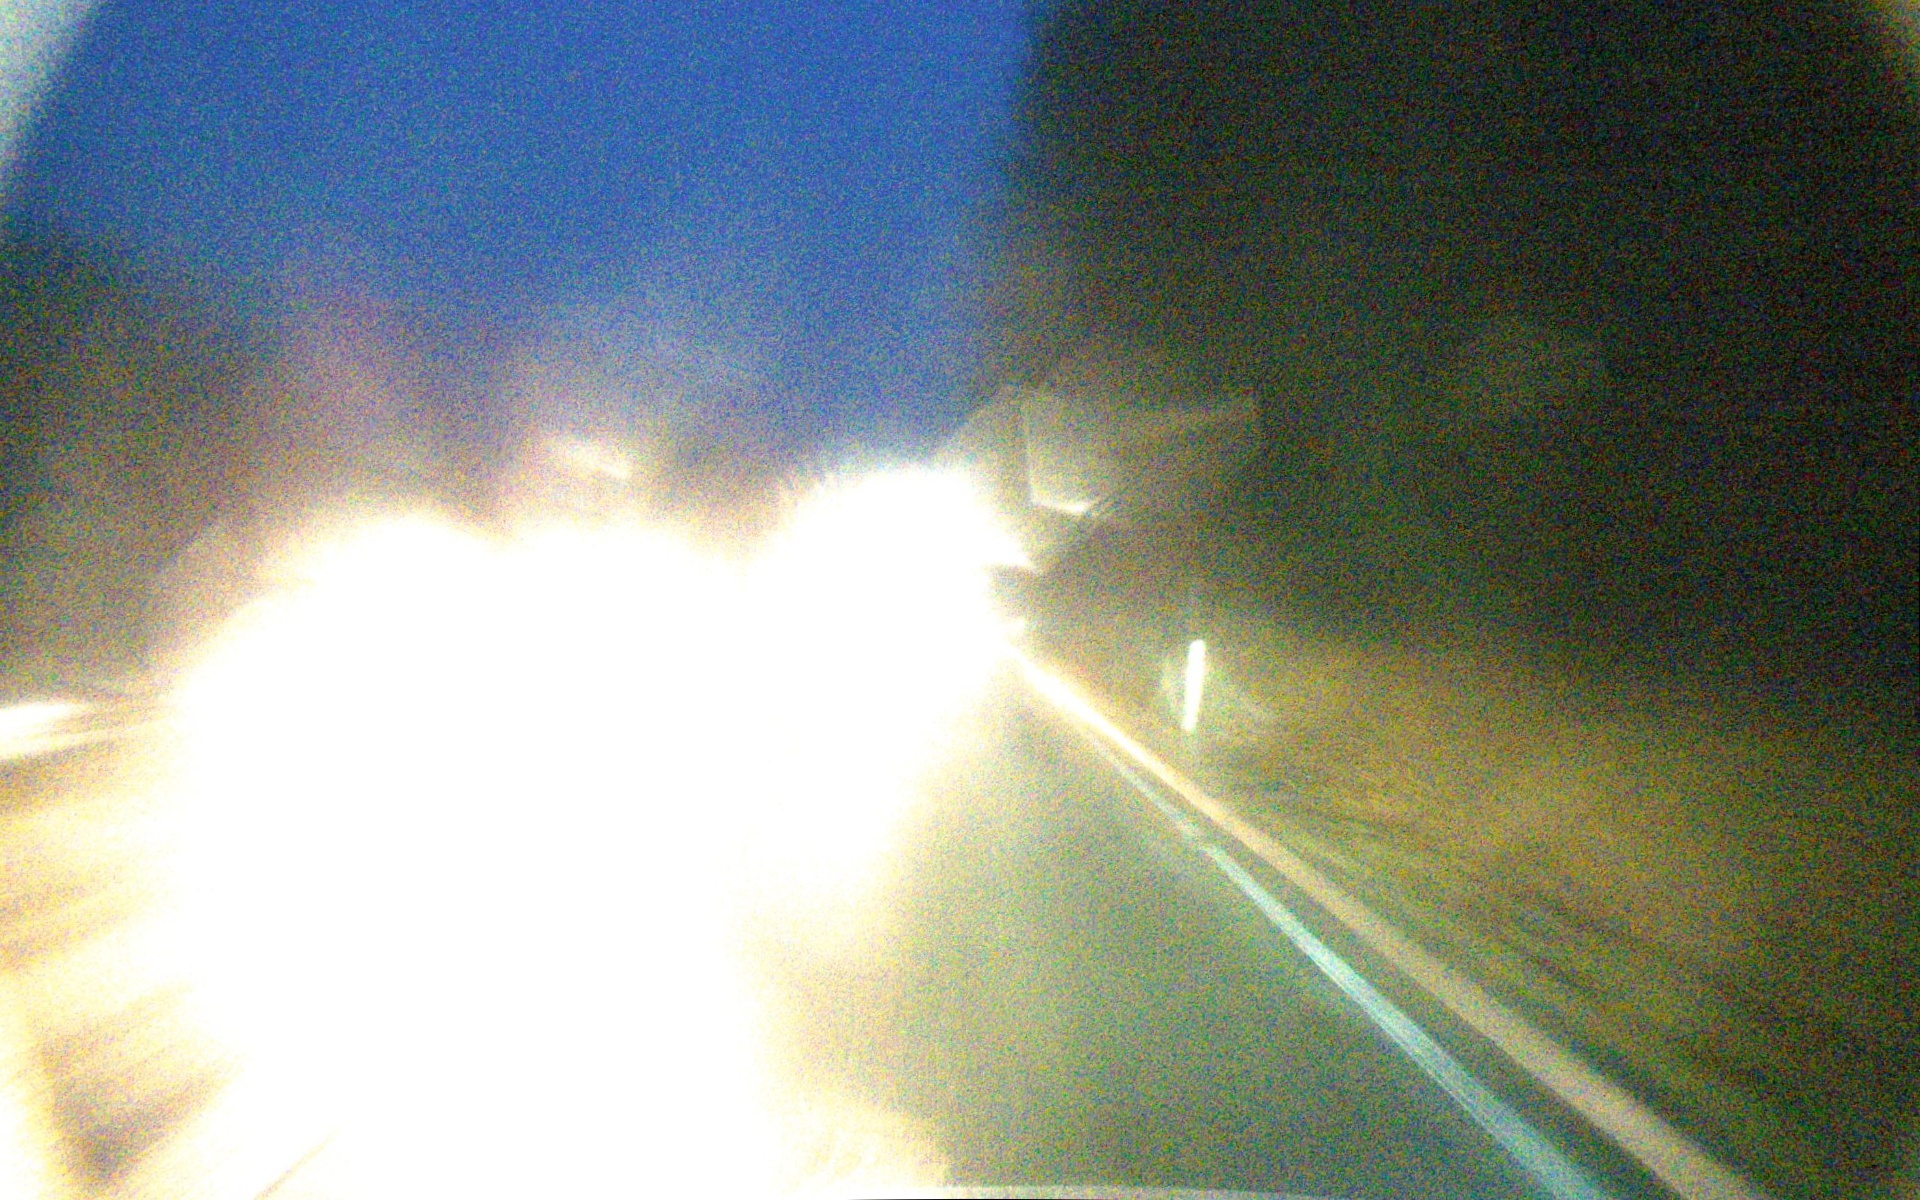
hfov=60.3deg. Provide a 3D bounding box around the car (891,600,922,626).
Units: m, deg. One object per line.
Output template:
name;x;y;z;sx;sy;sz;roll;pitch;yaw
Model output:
car;-3.300;0.787;102.381;1.791;1.481;3.793;-2;1;-1

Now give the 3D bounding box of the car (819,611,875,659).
car;-3.786;1.156;55.828;1.681;1.496;3.707;-1;0;-2

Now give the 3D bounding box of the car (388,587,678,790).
car;-3.717;0.687;15.065;1.681;1.544;3.876;-2;0;-2
